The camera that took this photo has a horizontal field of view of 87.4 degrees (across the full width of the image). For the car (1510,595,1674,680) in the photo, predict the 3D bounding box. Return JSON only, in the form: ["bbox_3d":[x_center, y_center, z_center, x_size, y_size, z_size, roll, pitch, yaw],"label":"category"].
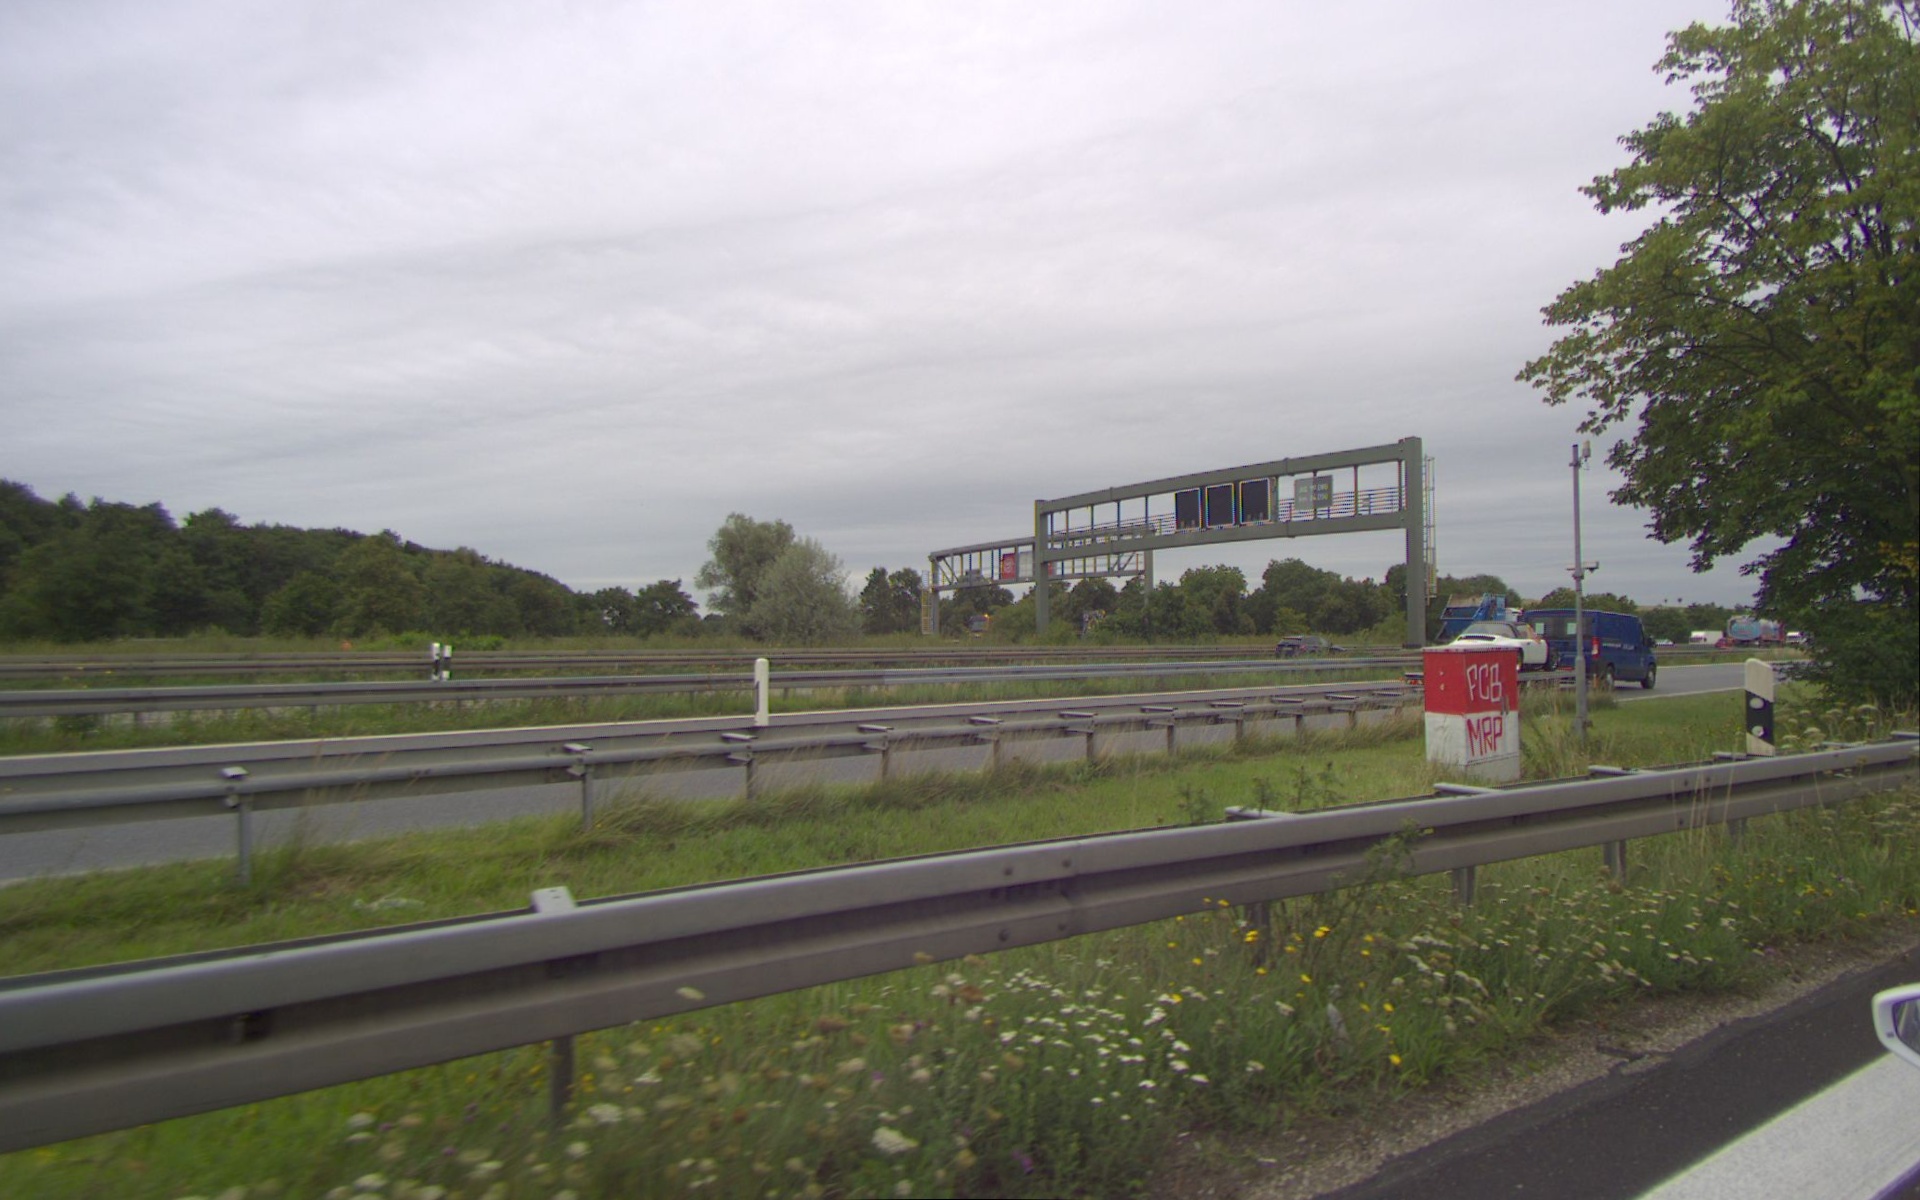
[{"bbox_3d":[18.975,1.084,30.024,6.205,2.296,2.353,2,-1,-40],"label":"car"}]

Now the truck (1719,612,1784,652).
[{"bbox_3d":[70.923,2.848,89.947,8.559,3.409,2.834,2,-2,-40],"label":"truck"}]

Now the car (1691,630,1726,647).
[{"bbox_3d":[72.755,3.732,97.626,3.966,1.595,1.795,2,-2,-39],"label":"car"}]

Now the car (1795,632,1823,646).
[{"bbox_3d":[100.509,4.651,118.934,3.966,1.595,1.870,2,-2,-39],"label":"car"}]

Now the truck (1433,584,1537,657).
[{"bbox_3d":[29.272,1.189,55.865,7.285,3.862,2.616,2,-2,-40],"label":"truck"}]

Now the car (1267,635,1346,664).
[{"bbox_3d":[18.196,2.599,52.636,4.737,1.410,1.788,2,-2,-41],"label":"car"}]

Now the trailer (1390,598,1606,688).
[{"bbox_3d":[13.949,1.050,25.785,7.005,2.021,2.464,2,-1,-40],"label":"trailer"}]

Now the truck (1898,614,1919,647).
[{"bbox_3d":[134.076,4.220,139.887,10.109,4.476,3.703,1,-1,-40],"label":"truck"}]

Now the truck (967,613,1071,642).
[{"bbox_3d":[4.546,2.128,76.032,8.734,2.040,1.979,2,-2,-38],"label":"truck"}]
